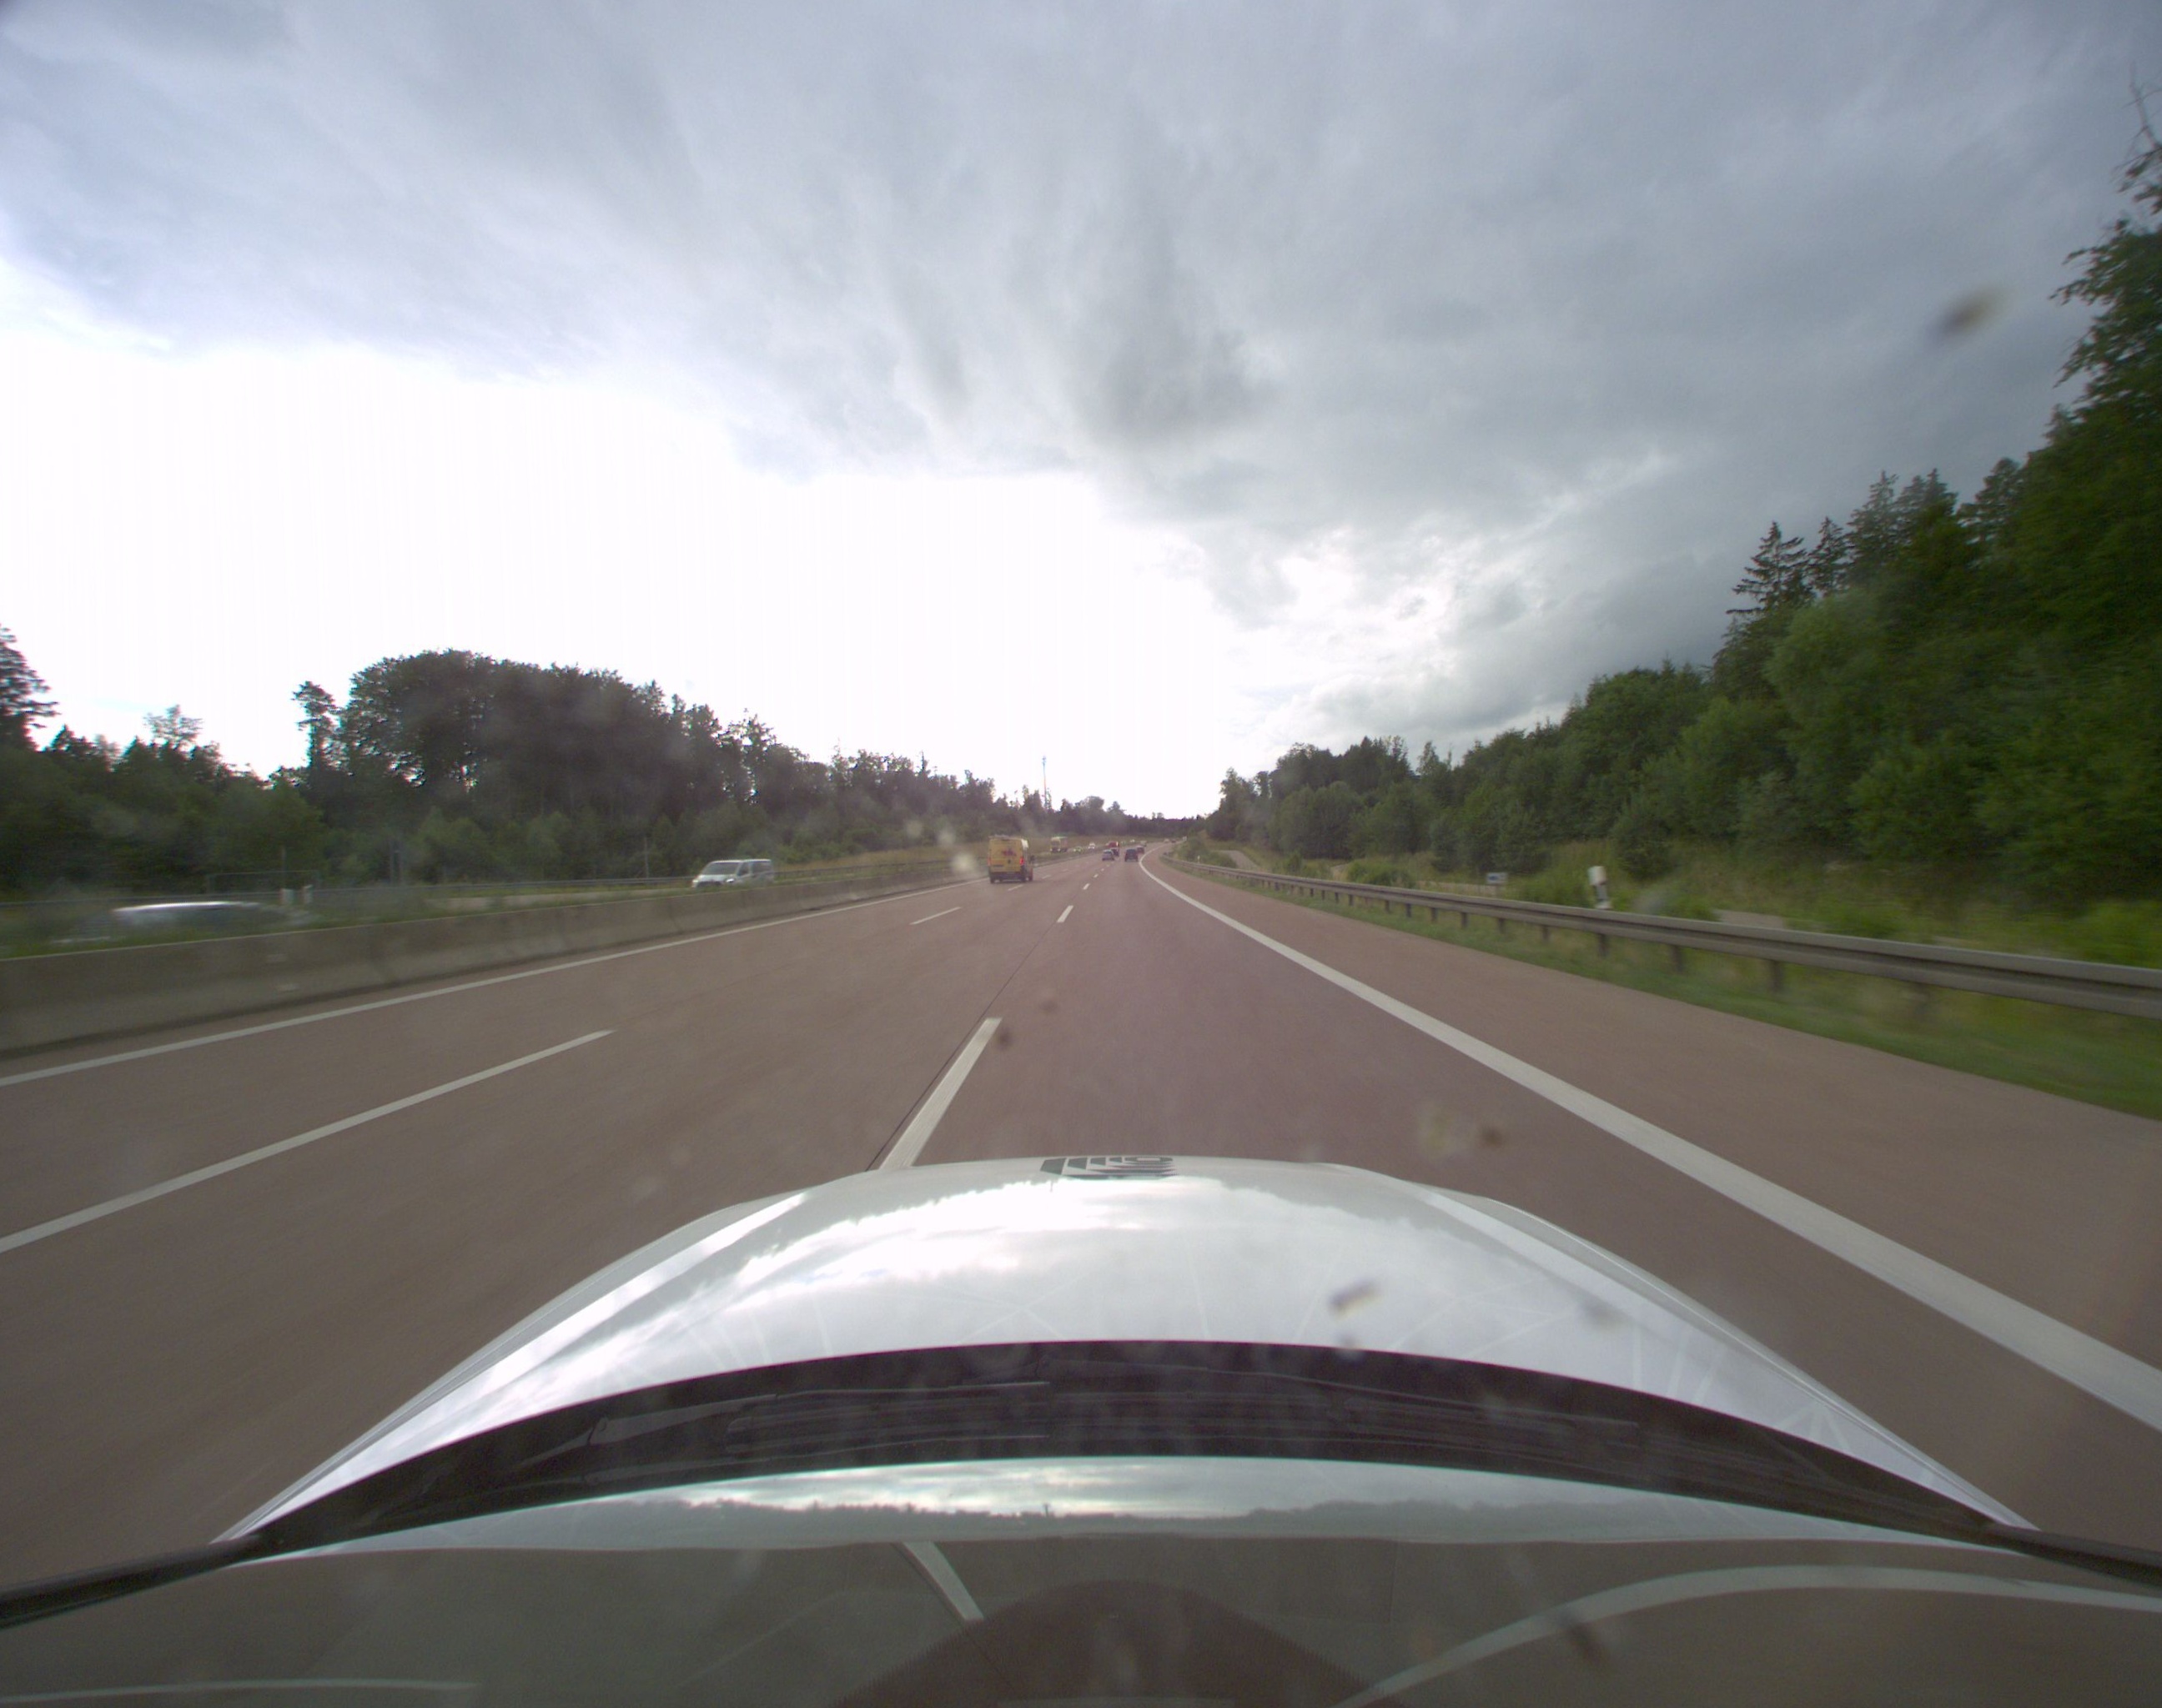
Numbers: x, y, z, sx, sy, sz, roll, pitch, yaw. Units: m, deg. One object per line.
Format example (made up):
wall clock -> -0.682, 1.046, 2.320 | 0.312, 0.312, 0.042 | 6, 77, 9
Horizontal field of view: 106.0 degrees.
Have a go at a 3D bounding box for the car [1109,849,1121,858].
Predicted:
car -> 6.539, -0.089, 157.321 | 1.968, 1.648, 4.625 | -2, 0, 5

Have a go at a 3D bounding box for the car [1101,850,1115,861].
car -> 4.175, 0.267, 124.791 | 1.969, 1.648, 4.624 | -2, 0, 4

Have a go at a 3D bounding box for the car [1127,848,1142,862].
car -> 7.662, 0.119, 117.183 | 2.035, 1.897, 5.583 | -2, 0, 4

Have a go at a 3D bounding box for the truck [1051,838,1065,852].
truck -> -5.966, -2.405, 215.174 | 2.997, 3.582, 6.067 | 0, -1, 5

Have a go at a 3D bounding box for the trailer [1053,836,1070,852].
trailer -> -5.285, -2.563, 221.974 | 3.018, 4.041, 14.553 | 0, 0, 6

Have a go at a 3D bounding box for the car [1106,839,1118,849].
car -> 7.656, -2.525, 200.684 | 2.229, 2.430, 6.217 | 1, 1, 7

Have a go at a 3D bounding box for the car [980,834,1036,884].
car -> -4.175, 0.265, 47.848 | 2.448, 2.706, 5.617 | -2, 0, 3

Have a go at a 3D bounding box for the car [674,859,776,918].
car -> -16.961, 1.543, 39.274 | 2.026, 2.610, 6.356 | 0, -1, 1

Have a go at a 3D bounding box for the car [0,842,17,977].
car -> -22.221, 1.050, 12.338 | 2.451, 2.610, 7.330 | 0, -1, 1

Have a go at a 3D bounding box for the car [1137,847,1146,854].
car -> 13.628, -0.765, 182.916 | 1.968, 1.648, 4.625 | -2, 0, 5

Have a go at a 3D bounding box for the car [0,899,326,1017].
car -> -14.299, 1.415, 12.268 | 1.889, 1.281, 4.161 | 0, 0, 1
